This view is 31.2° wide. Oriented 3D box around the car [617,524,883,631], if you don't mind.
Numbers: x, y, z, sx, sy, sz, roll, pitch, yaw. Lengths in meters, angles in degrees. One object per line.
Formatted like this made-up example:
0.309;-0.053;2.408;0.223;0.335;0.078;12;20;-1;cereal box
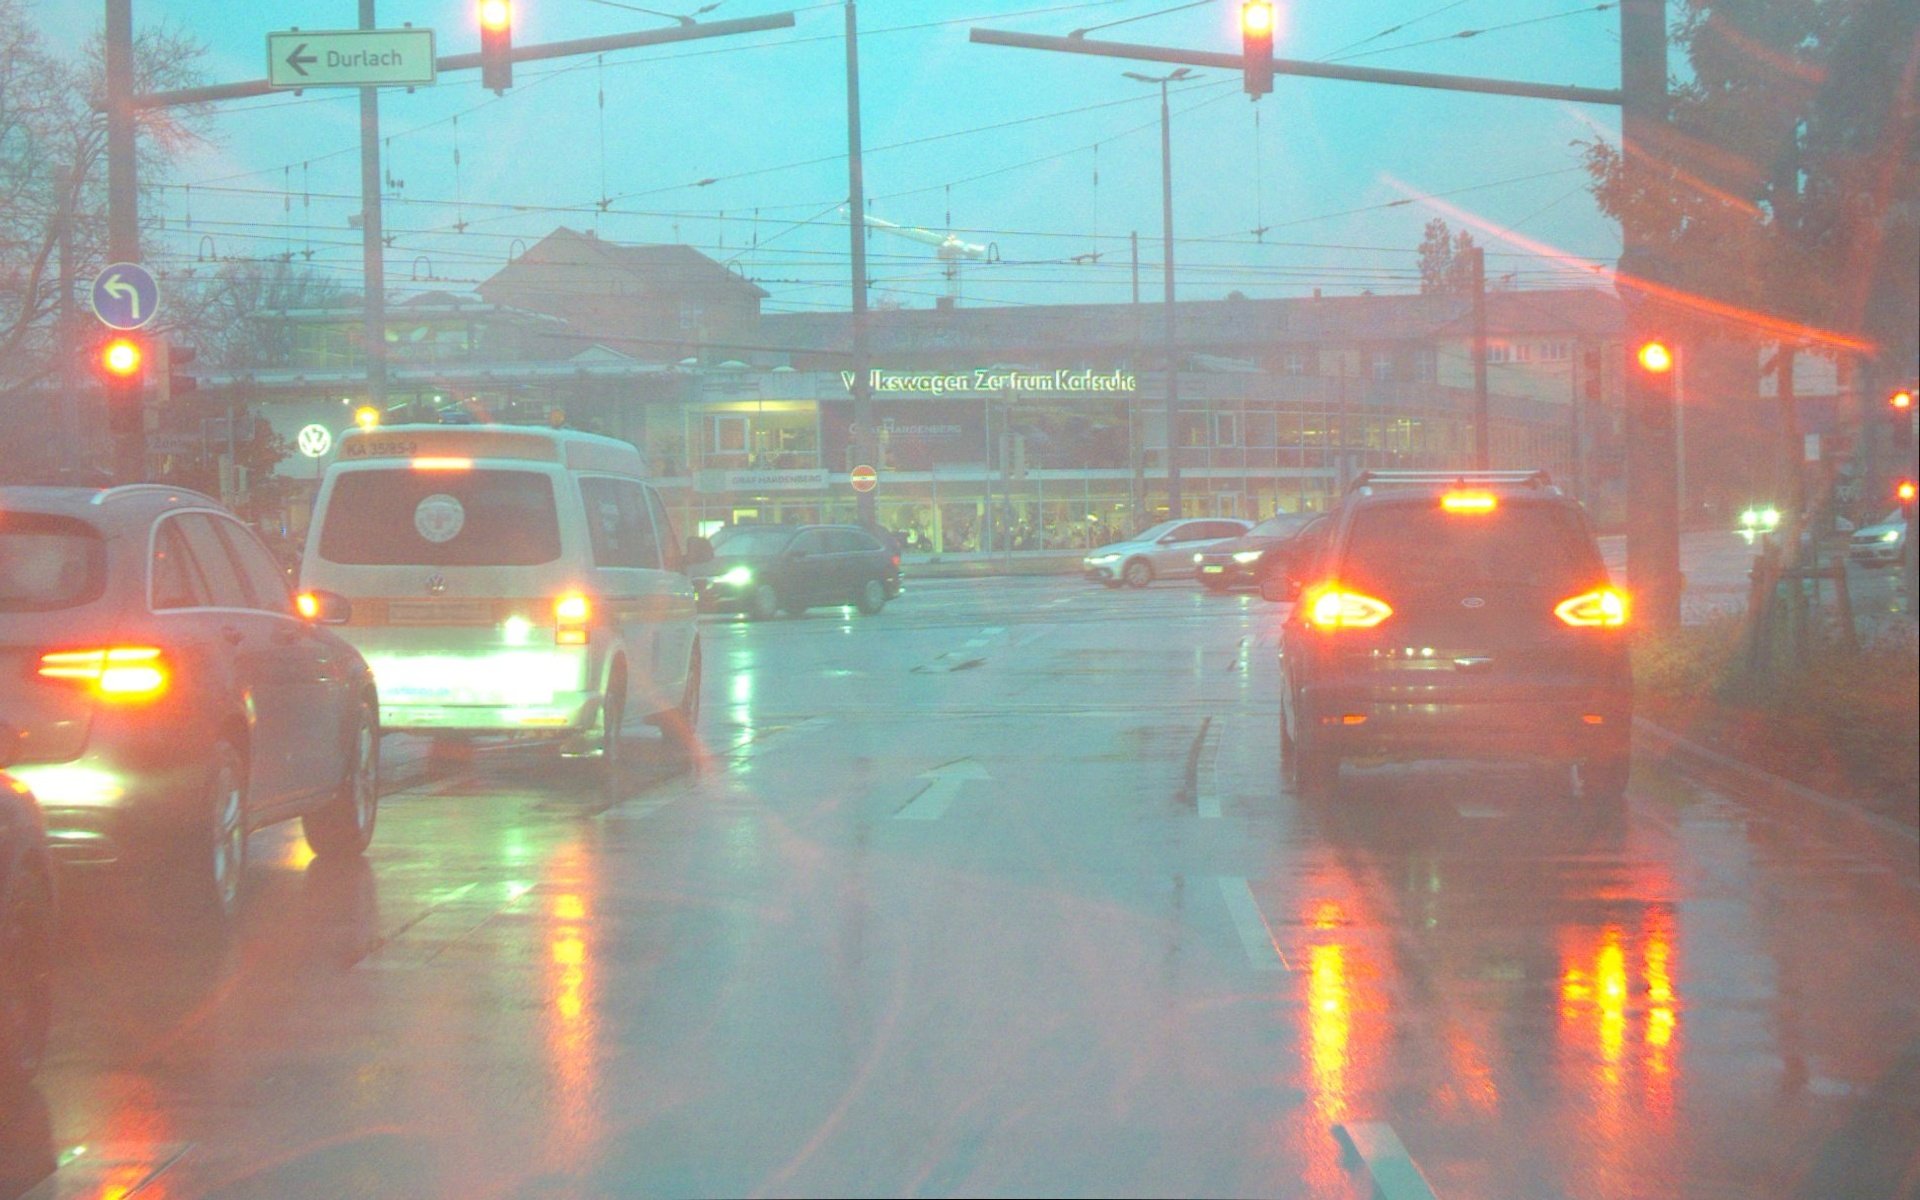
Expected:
-3.208;-0.370;53.149;1.997;1.509;3.992;-1;2;35;car

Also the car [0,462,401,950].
-3.512;0.292;13.621;1.785;1.595;4.541;2;1;0;car

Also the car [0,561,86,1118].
-3.195;0.620;7.545;1.659;1.399;4.121;1;1;-3;car

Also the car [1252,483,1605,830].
2.612;0.227;20.026;1.778;1.794;4.424;0;2;4;car

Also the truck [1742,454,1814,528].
30.637;-4.058;128.703;1.995;2.682;5.110;-1;1;20;truck

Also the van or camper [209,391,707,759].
-3.087;-0.194;22.316;2.202;2.102;4.987;0;1;4;van or camper

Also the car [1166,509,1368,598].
5.863;-0.894;65.330;1.998;1.597;3.992;-1;1;37;car

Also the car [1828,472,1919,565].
21.799;-1.854;76.882;4.404;2.007;1.911;-1;1;8;car

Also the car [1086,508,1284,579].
4.668;-1.188;71.652;3.803;1.361;1.852;-2;1;-7;car
